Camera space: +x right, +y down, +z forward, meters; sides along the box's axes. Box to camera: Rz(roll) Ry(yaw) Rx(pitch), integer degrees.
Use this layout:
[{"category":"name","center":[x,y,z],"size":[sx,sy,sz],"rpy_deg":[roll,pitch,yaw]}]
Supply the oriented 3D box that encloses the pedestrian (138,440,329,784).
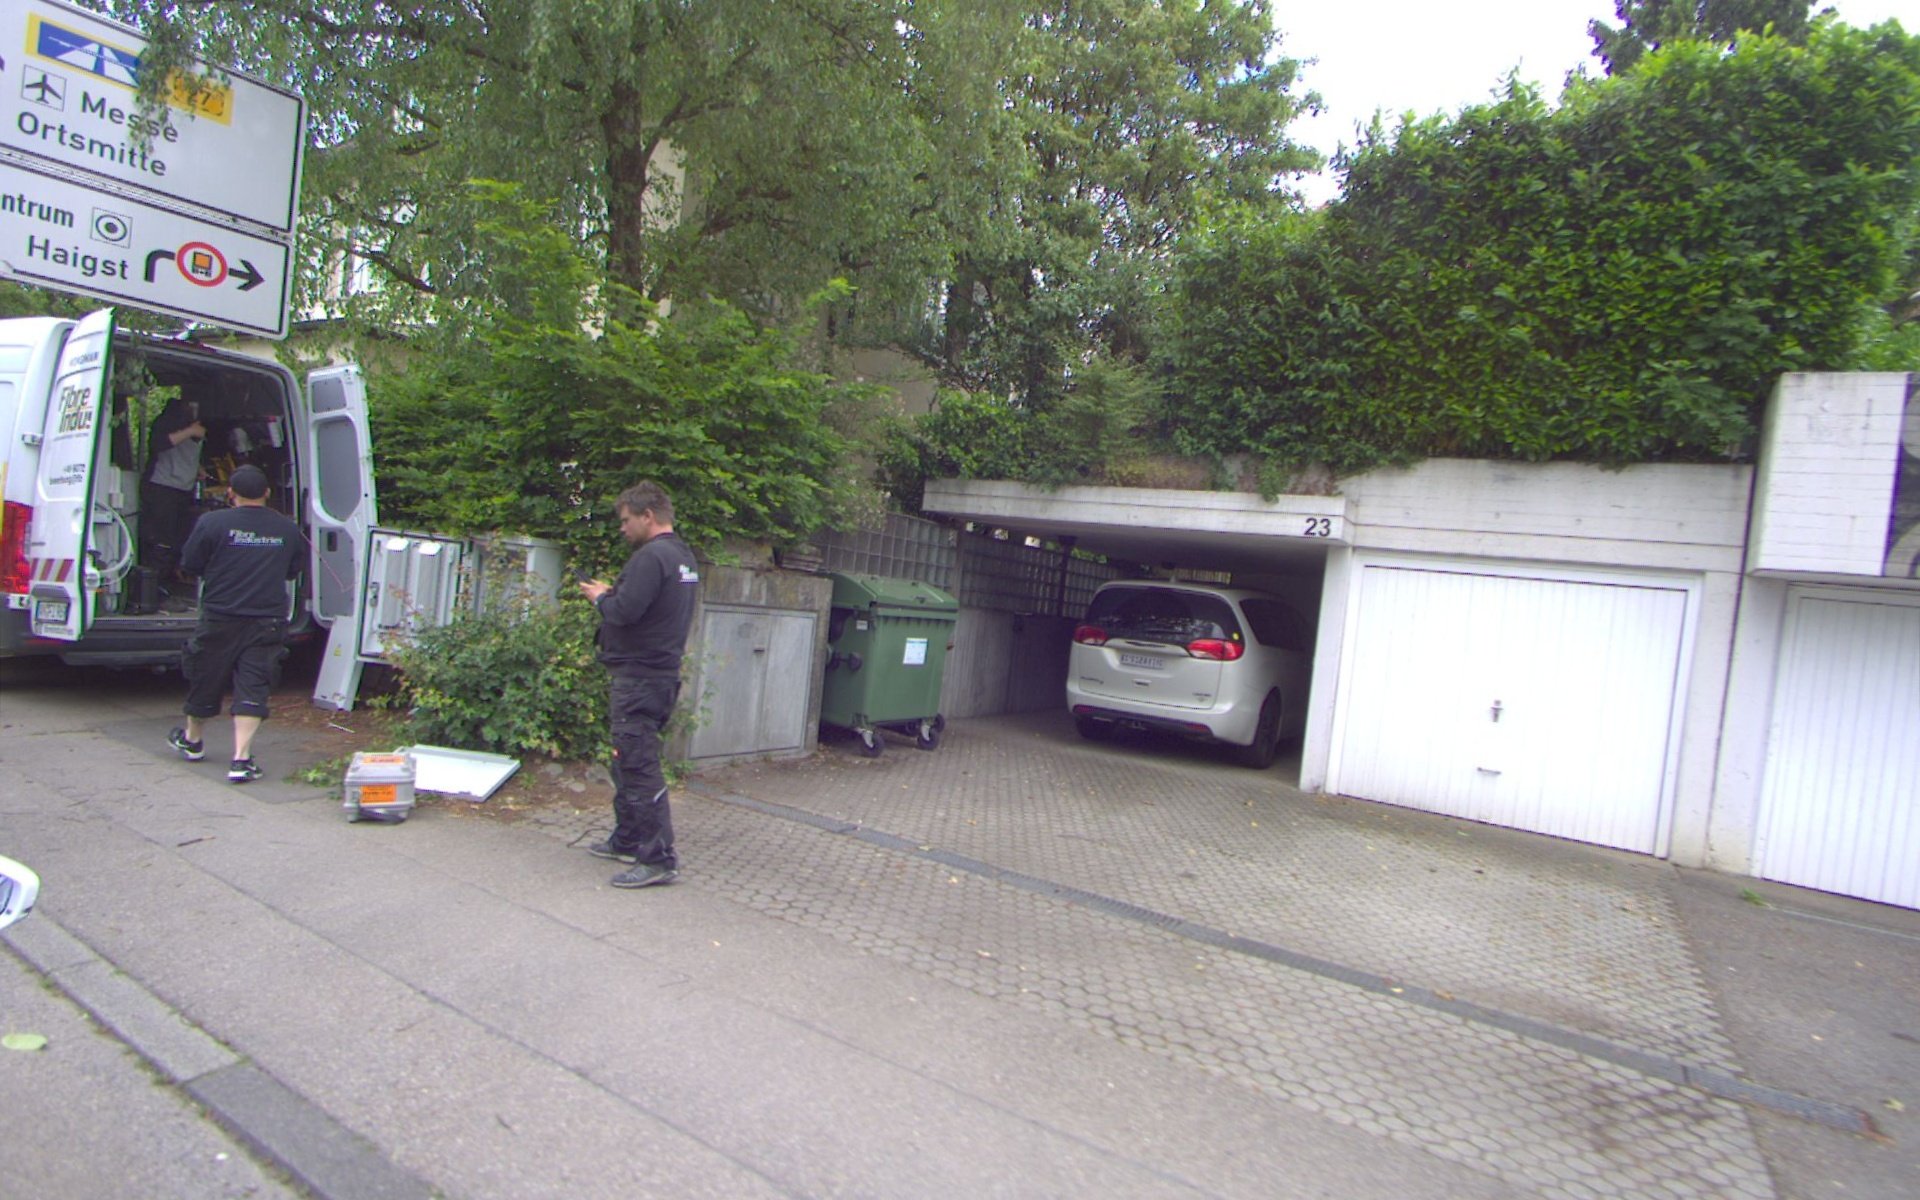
[{"category":"pedestrian","center":[-4.008,0.059,5.601],"size":[0.744,1.744,0.784],"rpy_deg":[3,4,-34]}]

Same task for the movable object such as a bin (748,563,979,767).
[{"category":"movable object such as a bin","center":[-0.806,0.515,8.694],"size":[1.276,1.482,1.420],"rpy_deg":[7,3,32]}]

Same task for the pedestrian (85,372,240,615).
[{"category":"pedestrian","center":[-6.003,-0.765,7.623],"size":[0.730,1.665,0.794],"rpy_deg":[4,2,-31]}]

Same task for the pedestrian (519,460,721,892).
[{"category":"pedestrian","center":[-1.510,0.338,4.544],"size":[0.645,1.773,0.647],"rpy_deg":[6,1,-16]}]

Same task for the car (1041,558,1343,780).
[{"category":"car","center":[2.725,0.691,11.051],"size":[1.966,1.811,3.991],"rpy_deg":[7,1,30]}]

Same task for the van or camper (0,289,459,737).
[{"category":"van or camper","center":[-7.280,-0.733,8.314],"size":[6.491,2.529,2.340],"rpy_deg":[5,3,29]}]
